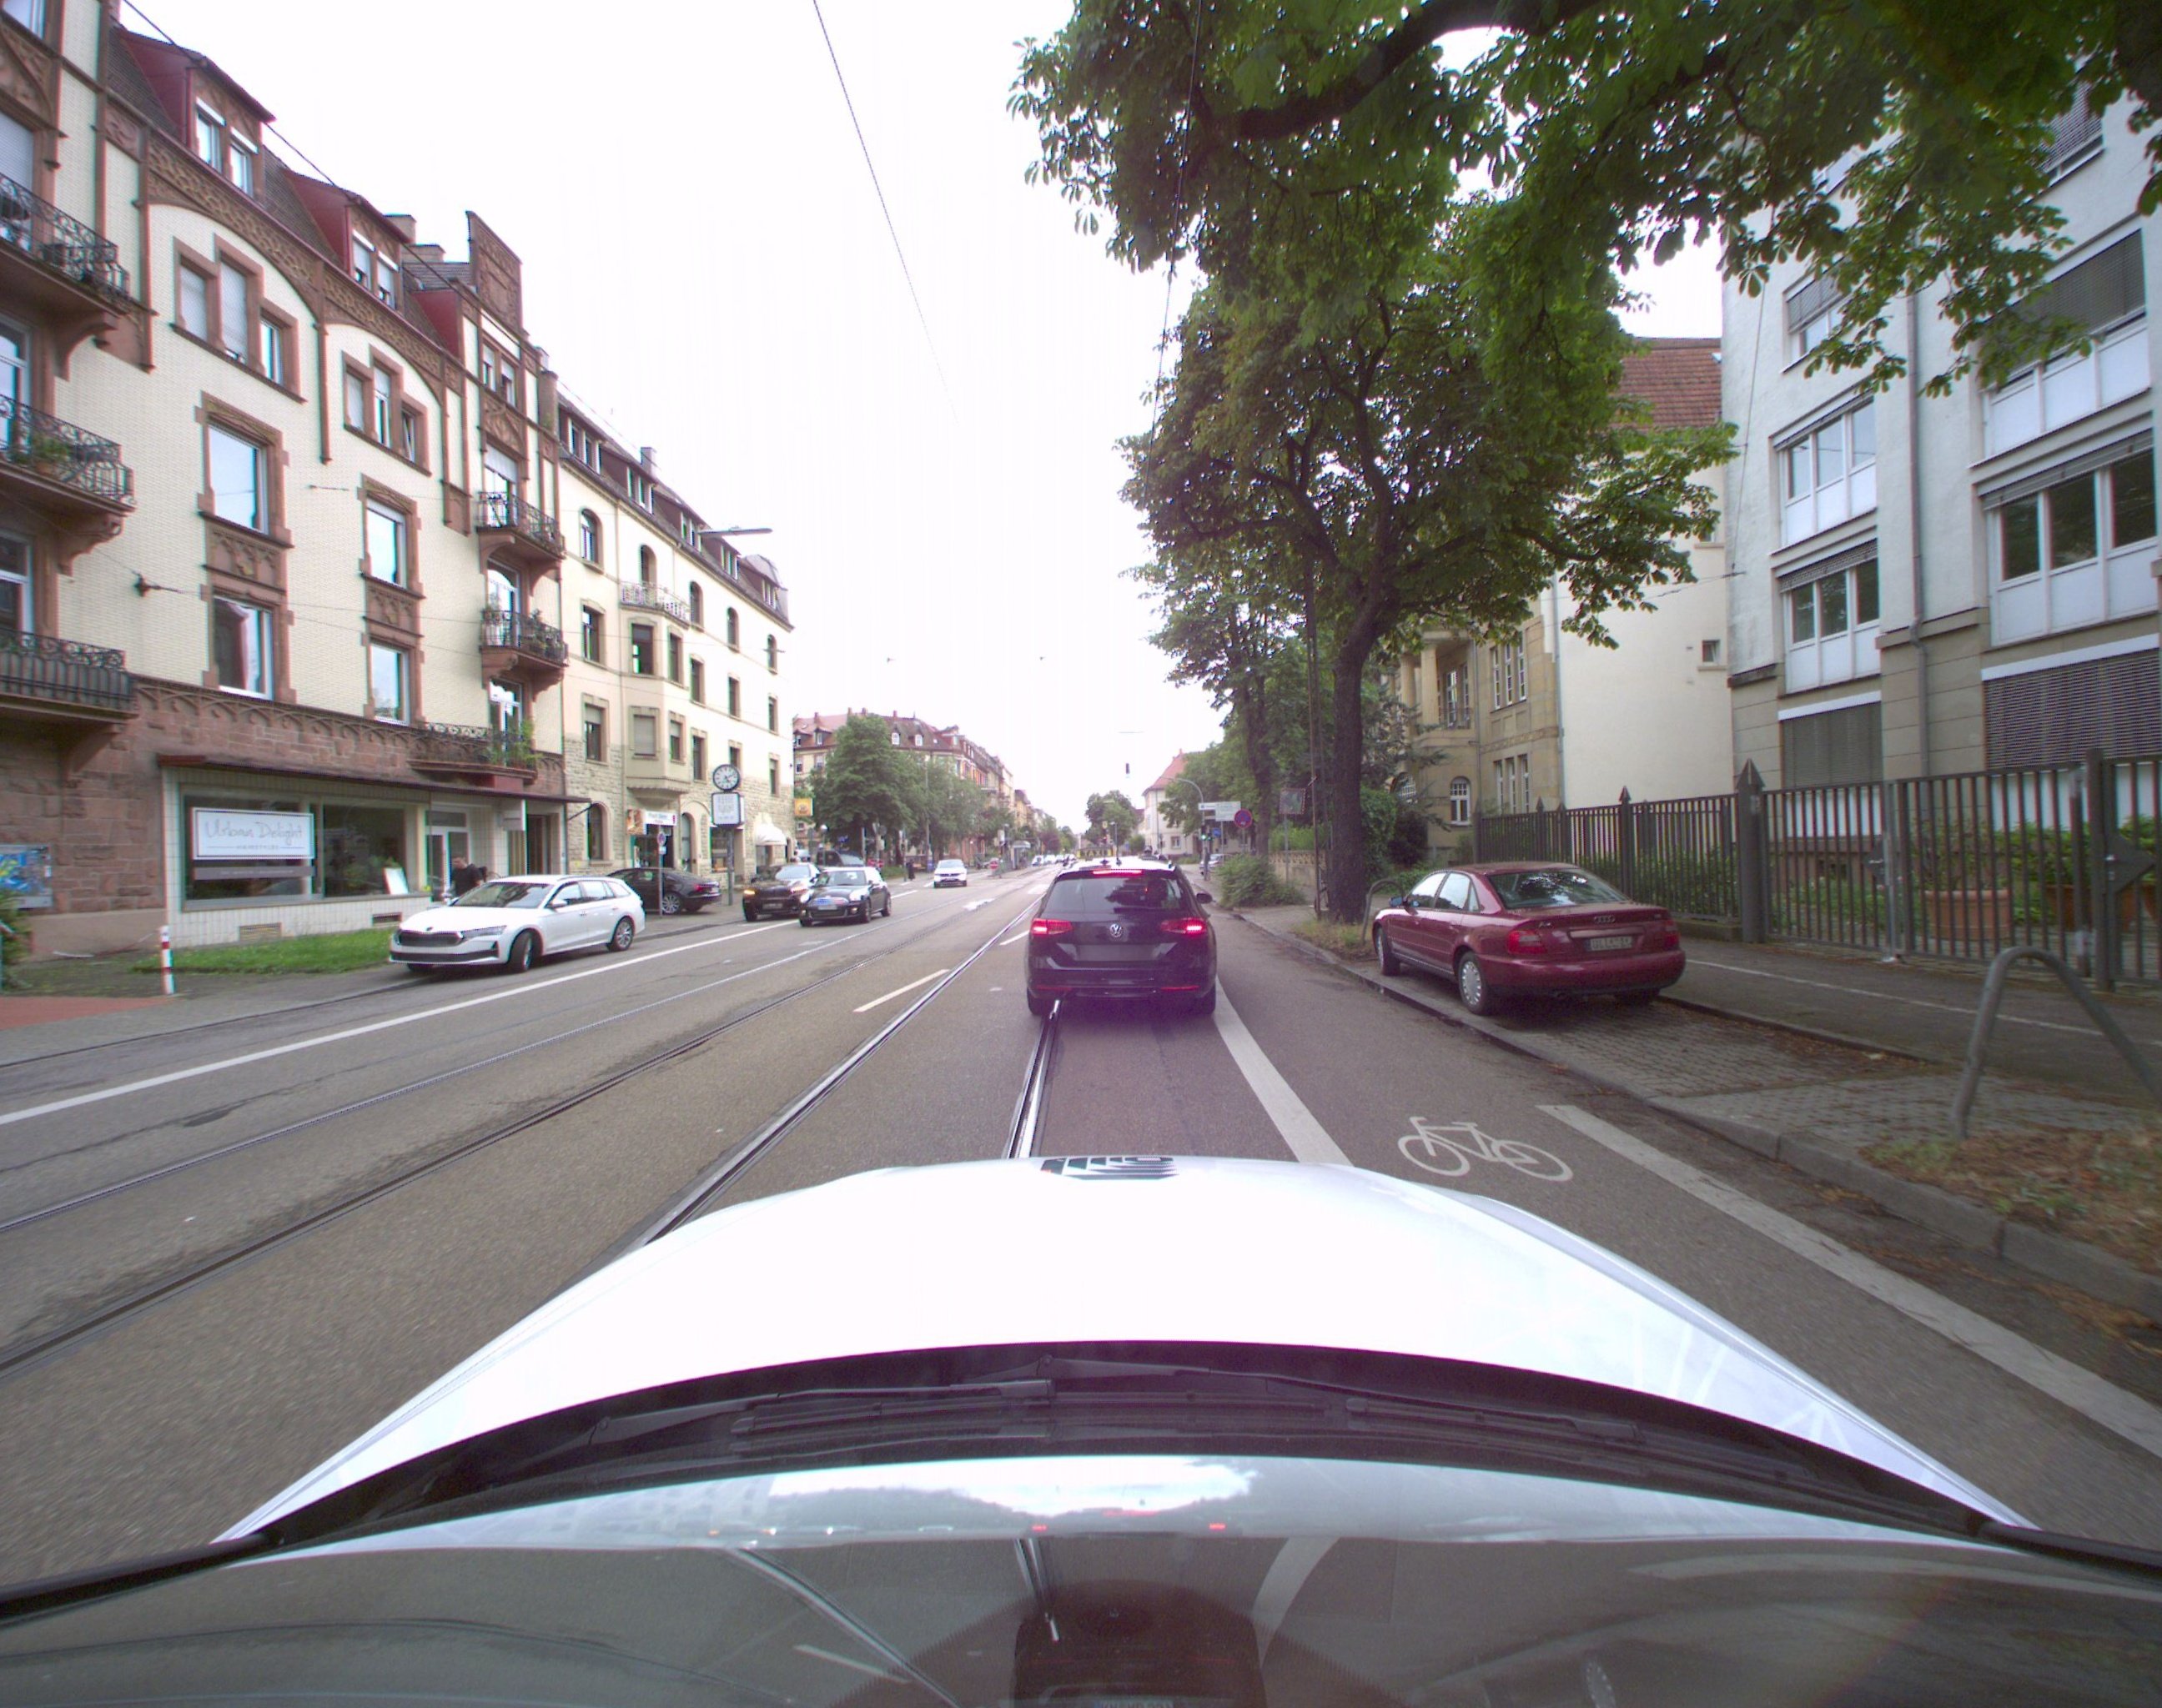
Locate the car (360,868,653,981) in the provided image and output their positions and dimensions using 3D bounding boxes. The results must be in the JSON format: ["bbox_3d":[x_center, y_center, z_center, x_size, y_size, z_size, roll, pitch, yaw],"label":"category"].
[{"bbox_3d":[-9.550,1.065,14.123,1.741,1.484,4.608,-2,0,0],"label":"car"}]

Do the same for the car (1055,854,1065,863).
[{"bbox_3d":[-3.793,0.808,149.471,1.715,1.465,3.863,-2,0,1],"label":"car"}]

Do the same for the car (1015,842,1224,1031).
[{"bbox_3d":[0.360,0.687,8.808,1.717,1.546,4.001,-1,0,1],"label":"car"}]

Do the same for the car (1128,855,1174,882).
[{"bbox_3d":[4.122,0.818,47.317,1.877,1.408,4.018,-2,0,16],"label":"car"}]

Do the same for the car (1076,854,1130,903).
[{"bbox_3d":[0.740,0.798,28.196,1.717,1.546,4.001,-1,0,1],"label":"car"}]

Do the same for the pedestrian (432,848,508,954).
[{"bbox_3d":[-11.138,0.835,14.872,0.666,1.844,0.882,-2,0,0],"label":"pedestrian"}]

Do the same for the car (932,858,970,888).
[{"bbox_3d":[-7.276,1.038,45.880,1.695,1.496,3.924,-3,0,-4],"label":"car"}]

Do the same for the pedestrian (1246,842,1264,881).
[{"bbox_3d":[8.176,0.352,38.215,0.630,1.815,0.726,-2,0,-2],"label":"pedestrian"}]

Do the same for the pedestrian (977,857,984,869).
[{"bbox_3d":[-12.062,1.083,97.654,0.582,1.520,0.653,-2,0,36],"label":"pedestrian"}]

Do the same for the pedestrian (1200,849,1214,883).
[{"bbox_3d":[6.917,0.659,44.673,0.583,1.831,0.604,-5,0,2],"label":"pedestrian"}]

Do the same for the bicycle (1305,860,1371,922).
[{"bbox_3d":[5.341,0.741,16.841,1.915,1.198,0.428,0,-2,-44],"label":"bicycle"}]

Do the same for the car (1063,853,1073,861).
[{"bbox_3d":[-2.961,0.709,187.031,1.787,1.596,4.004,-2,0,4],"label":"car"}]

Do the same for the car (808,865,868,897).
[{"bbox_3d":[-11.307,1.239,38.202,1.644,1.361,4.127,1,0,-1],"label":"car"}]

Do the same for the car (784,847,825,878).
[{"bbox_3d":[-23.856,0.746,70.156,2.193,2.527,5.327,-2,0,-31],"label":"car"}]

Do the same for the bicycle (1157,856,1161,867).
[{"bbox_3d":[8.413,0.792,88.118,0.295,1.223,1.433,-2,0,8],"label":"bicycle"}]

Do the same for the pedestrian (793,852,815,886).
[{"bbox_3d":[-17.019,0.927,50.072,0.970,2.013,0.836,-2,0,0],"label":"pedestrian"}]

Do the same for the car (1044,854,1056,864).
[{"bbox_3d":[-5.032,0.771,132.610,1.715,1.622,3.863,-2,0,1],"label":"car"}]

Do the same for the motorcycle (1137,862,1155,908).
[{"bbox_3d":[1.874,0.861,23.557,0.444,1.235,1.909,-2,0,4],"label":"motorcycle"}]

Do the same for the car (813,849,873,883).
[{"bbox_3d":[-17.866,0.910,61.057,2.198,2.417,5.316,-2,0,-41],"label":"car"}]

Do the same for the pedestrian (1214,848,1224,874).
[{"bbox_3d":[9.875,0.526,58.412,0.510,1.831,0.420,-5,0,17],"label":"pedestrian"}]

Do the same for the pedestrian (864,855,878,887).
[{"bbox_3d":[-12.087,0.981,46.900,0.621,1.842,0.609,-2,0,-2],"label":"pedestrian"}]

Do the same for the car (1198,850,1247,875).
[{"bbox_3d":[9.428,0.578,54.182,1.974,1.577,4.024,-1,-1,29],"label":"car"}]

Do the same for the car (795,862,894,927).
[{"bbox_3d":[-6.064,0.988,21.249,1.604,1.422,3.484,-3,0,-2],"label":"car"}]

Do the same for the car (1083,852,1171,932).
[{"bbox_3d":[0.951,0.748,18.096,1.717,1.546,4.001,-1,0,1],"label":"car"}]

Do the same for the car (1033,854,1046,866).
[{"bbox_3d":[-5.983,0.804,117.611,1.715,1.622,3.863,-2,0,1],"label":"car"}]

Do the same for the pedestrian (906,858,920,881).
[{"bbox_3d":[-12.406,1.161,59.984,0.833,1.663,0.591,-2,0,2],"label":"pedestrian"}]

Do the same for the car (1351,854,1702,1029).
[{"bbox_3d":[4.503,0.748,9.072,1.596,1.399,4.228,-4,0,1],"label":"car"}]

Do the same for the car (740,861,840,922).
[{"bbox_3d":[-9.055,1.094,25.768,1.882,1.611,4.874,-4,0,-8],"label":"car"}]

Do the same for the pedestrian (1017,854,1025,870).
[{"bbox_3d":[-6.163,0.822,83.692,0.711,1.520,0.590,-2,0,2],"label":"pedestrian"}]

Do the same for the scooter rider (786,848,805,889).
[{"bbox_3d":[-14.157,0.722,40.375,0.640,2.013,0.757,-2,0,-1],"label":"scooter rider"}]

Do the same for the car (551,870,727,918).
[{"bbox_3d":[-13.786,1.232,25.627,4.416,1.370,1.878,1,0,-4],"label":"car"}]

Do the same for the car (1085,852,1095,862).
[{"bbox_3d":[1.993,0.695,170.780,2.026,2.014,4.000,-1,-1,1],"label":"car"}]

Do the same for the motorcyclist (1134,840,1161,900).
[{"bbox_3d":[1.920,0.466,23.596,0.700,1.692,0.805,-2,0,4],"label":"motorcyclist"}]

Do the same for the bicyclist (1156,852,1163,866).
[{"bbox_3d":[8.466,0.529,88.202,0.648,1.568,0.697,-2,0,8],"label":"bicyclist"}]

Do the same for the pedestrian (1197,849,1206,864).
[{"bbox_3d":[12.359,0.258,83.358,0.612,1.553,0.577,-1,0,-38],"label":"pedestrian"}]
